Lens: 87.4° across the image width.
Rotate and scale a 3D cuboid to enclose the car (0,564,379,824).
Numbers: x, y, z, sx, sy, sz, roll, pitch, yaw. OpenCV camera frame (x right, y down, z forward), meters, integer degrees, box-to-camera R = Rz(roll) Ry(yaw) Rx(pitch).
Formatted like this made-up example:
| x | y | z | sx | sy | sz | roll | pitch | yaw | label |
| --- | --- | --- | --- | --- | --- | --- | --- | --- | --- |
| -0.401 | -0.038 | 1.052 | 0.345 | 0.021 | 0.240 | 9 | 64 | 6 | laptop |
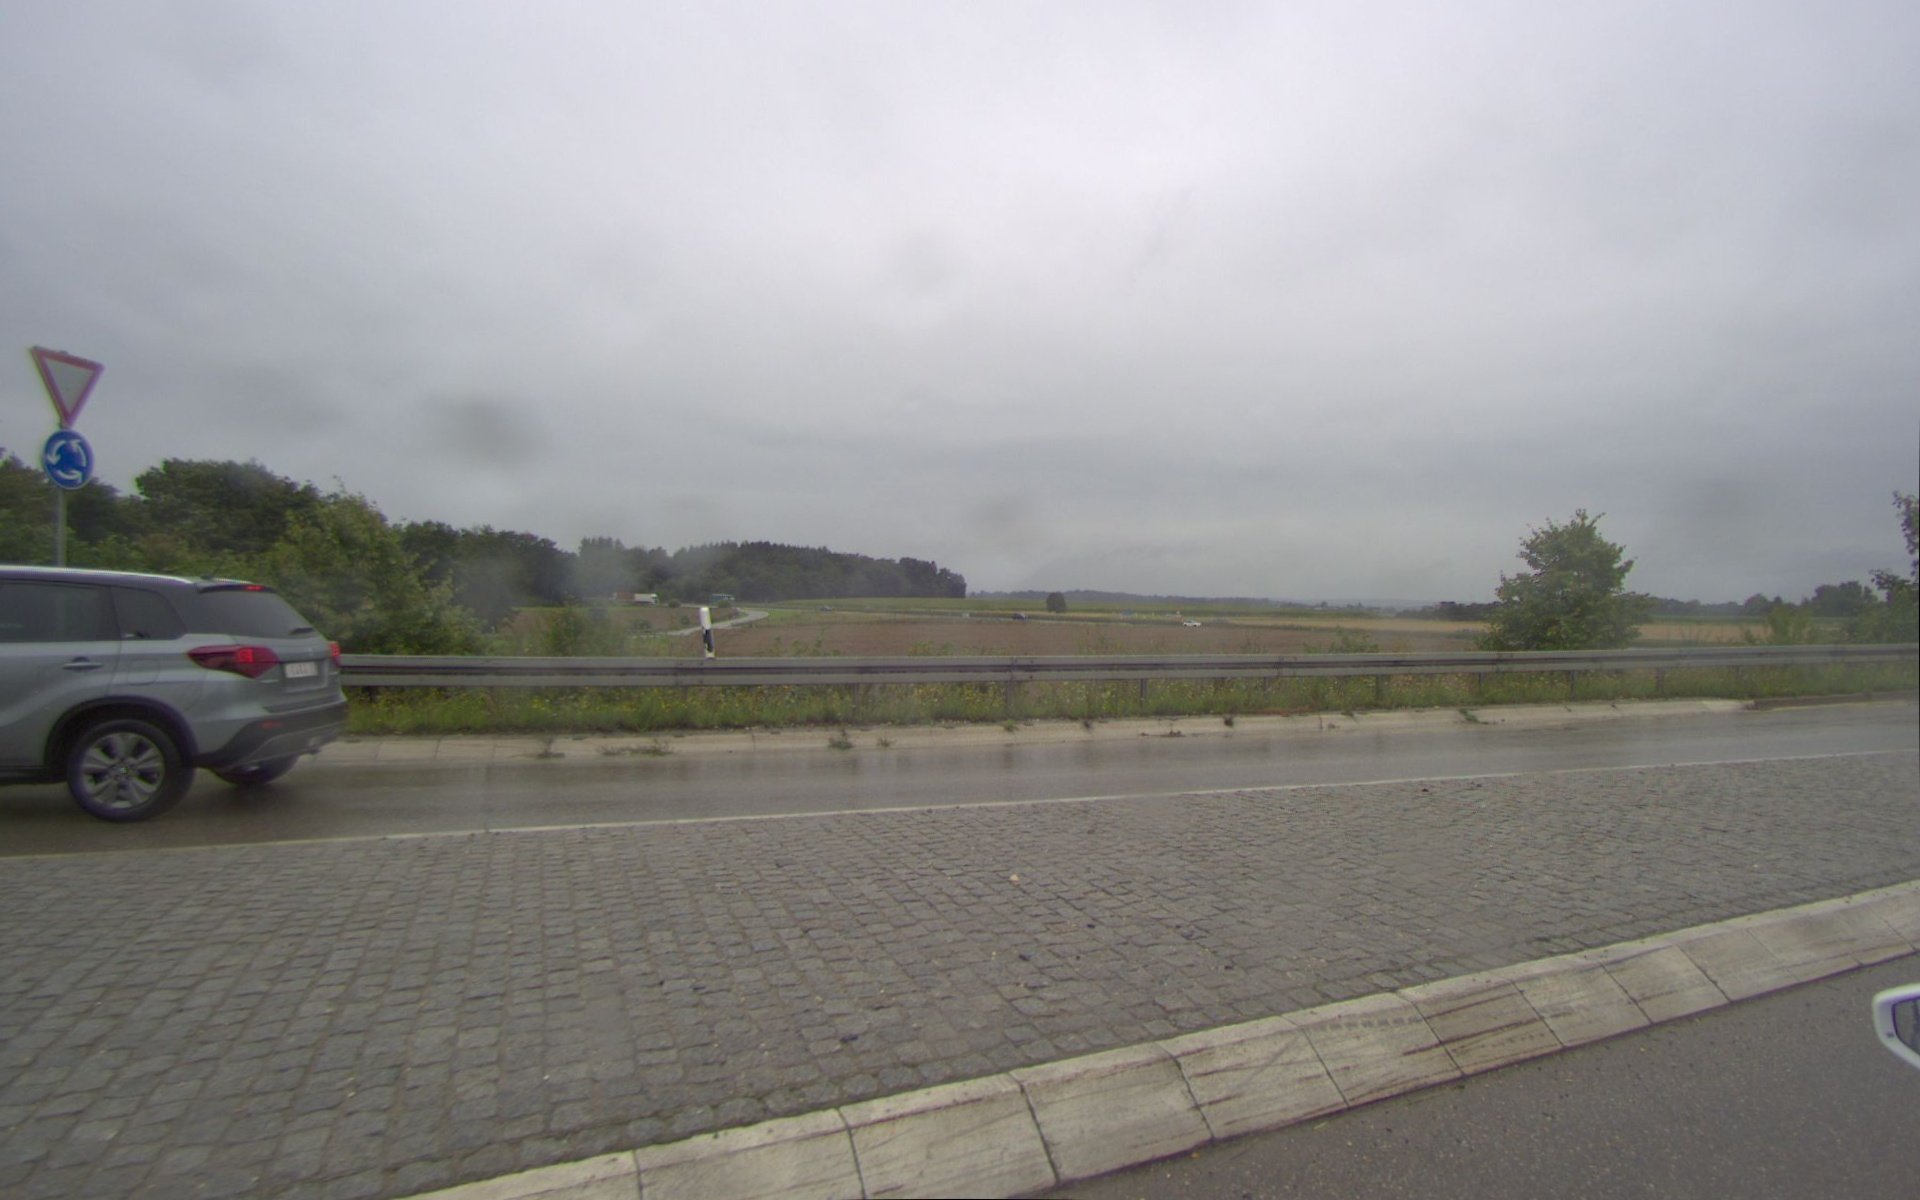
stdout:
| x | y | z | sx | sy | sz | roll | pitch | yaw | label |
| --- | --- | --- | --- | --- | --- | --- | --- | --- | --- |
| -6.544 | 0.571 | 6.949 | 3.928 | 1.596 | 1.803 | 2 | -1 | -10 | car |
